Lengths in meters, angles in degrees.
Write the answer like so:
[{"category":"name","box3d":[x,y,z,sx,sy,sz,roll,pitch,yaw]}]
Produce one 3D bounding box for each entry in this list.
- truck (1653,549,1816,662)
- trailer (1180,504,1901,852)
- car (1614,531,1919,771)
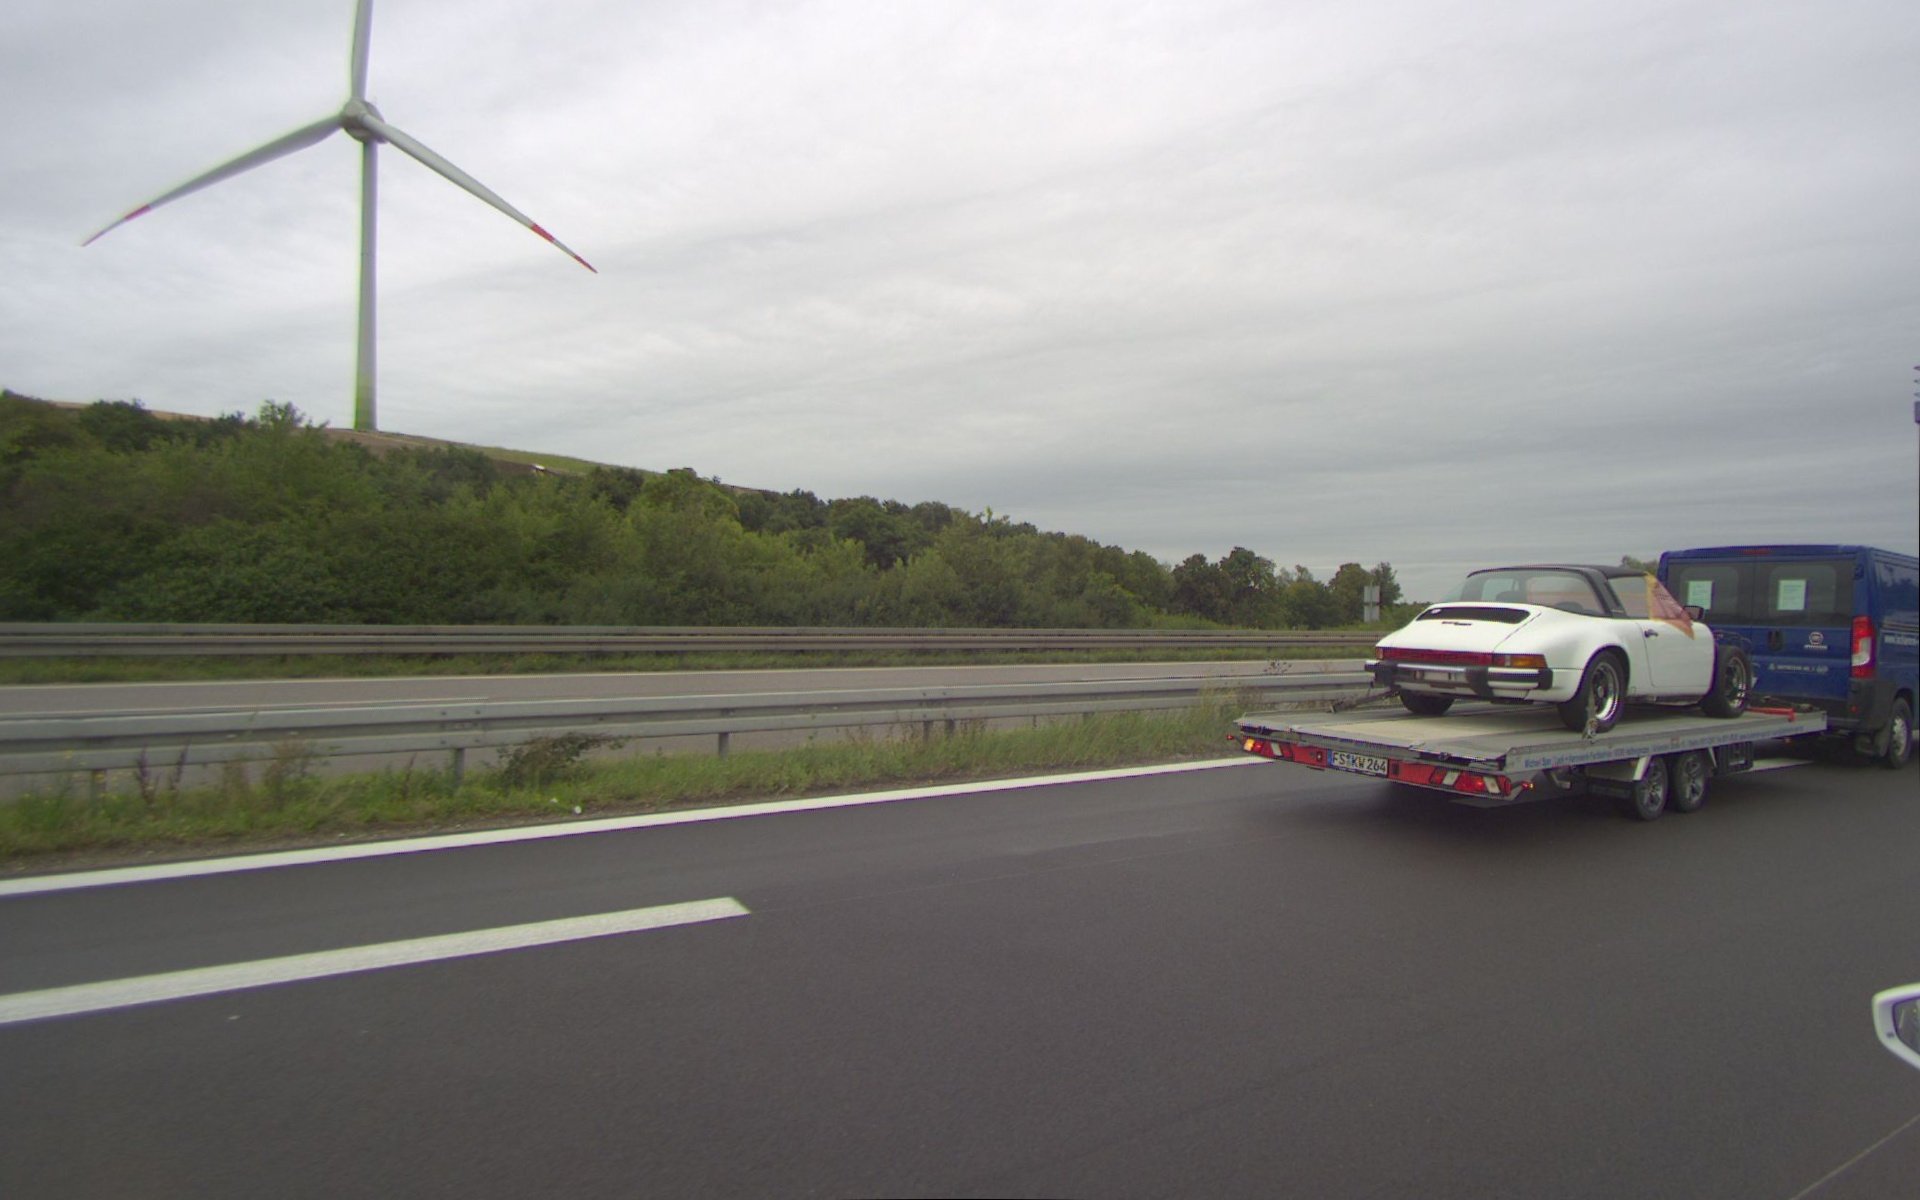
[{"category":"truck","box3d":[28.965,0.290,37.458,7.268,3.863,2.621,2,0,-34]},{"category":"trailer","box3d":[5.355,0.516,8.760,6.985,2.021,2.471,2,0,-32]},{"category":"car","box3d":[10.827,0.543,12.275,6.188,2.297,2.359,2,0,-32]}]
